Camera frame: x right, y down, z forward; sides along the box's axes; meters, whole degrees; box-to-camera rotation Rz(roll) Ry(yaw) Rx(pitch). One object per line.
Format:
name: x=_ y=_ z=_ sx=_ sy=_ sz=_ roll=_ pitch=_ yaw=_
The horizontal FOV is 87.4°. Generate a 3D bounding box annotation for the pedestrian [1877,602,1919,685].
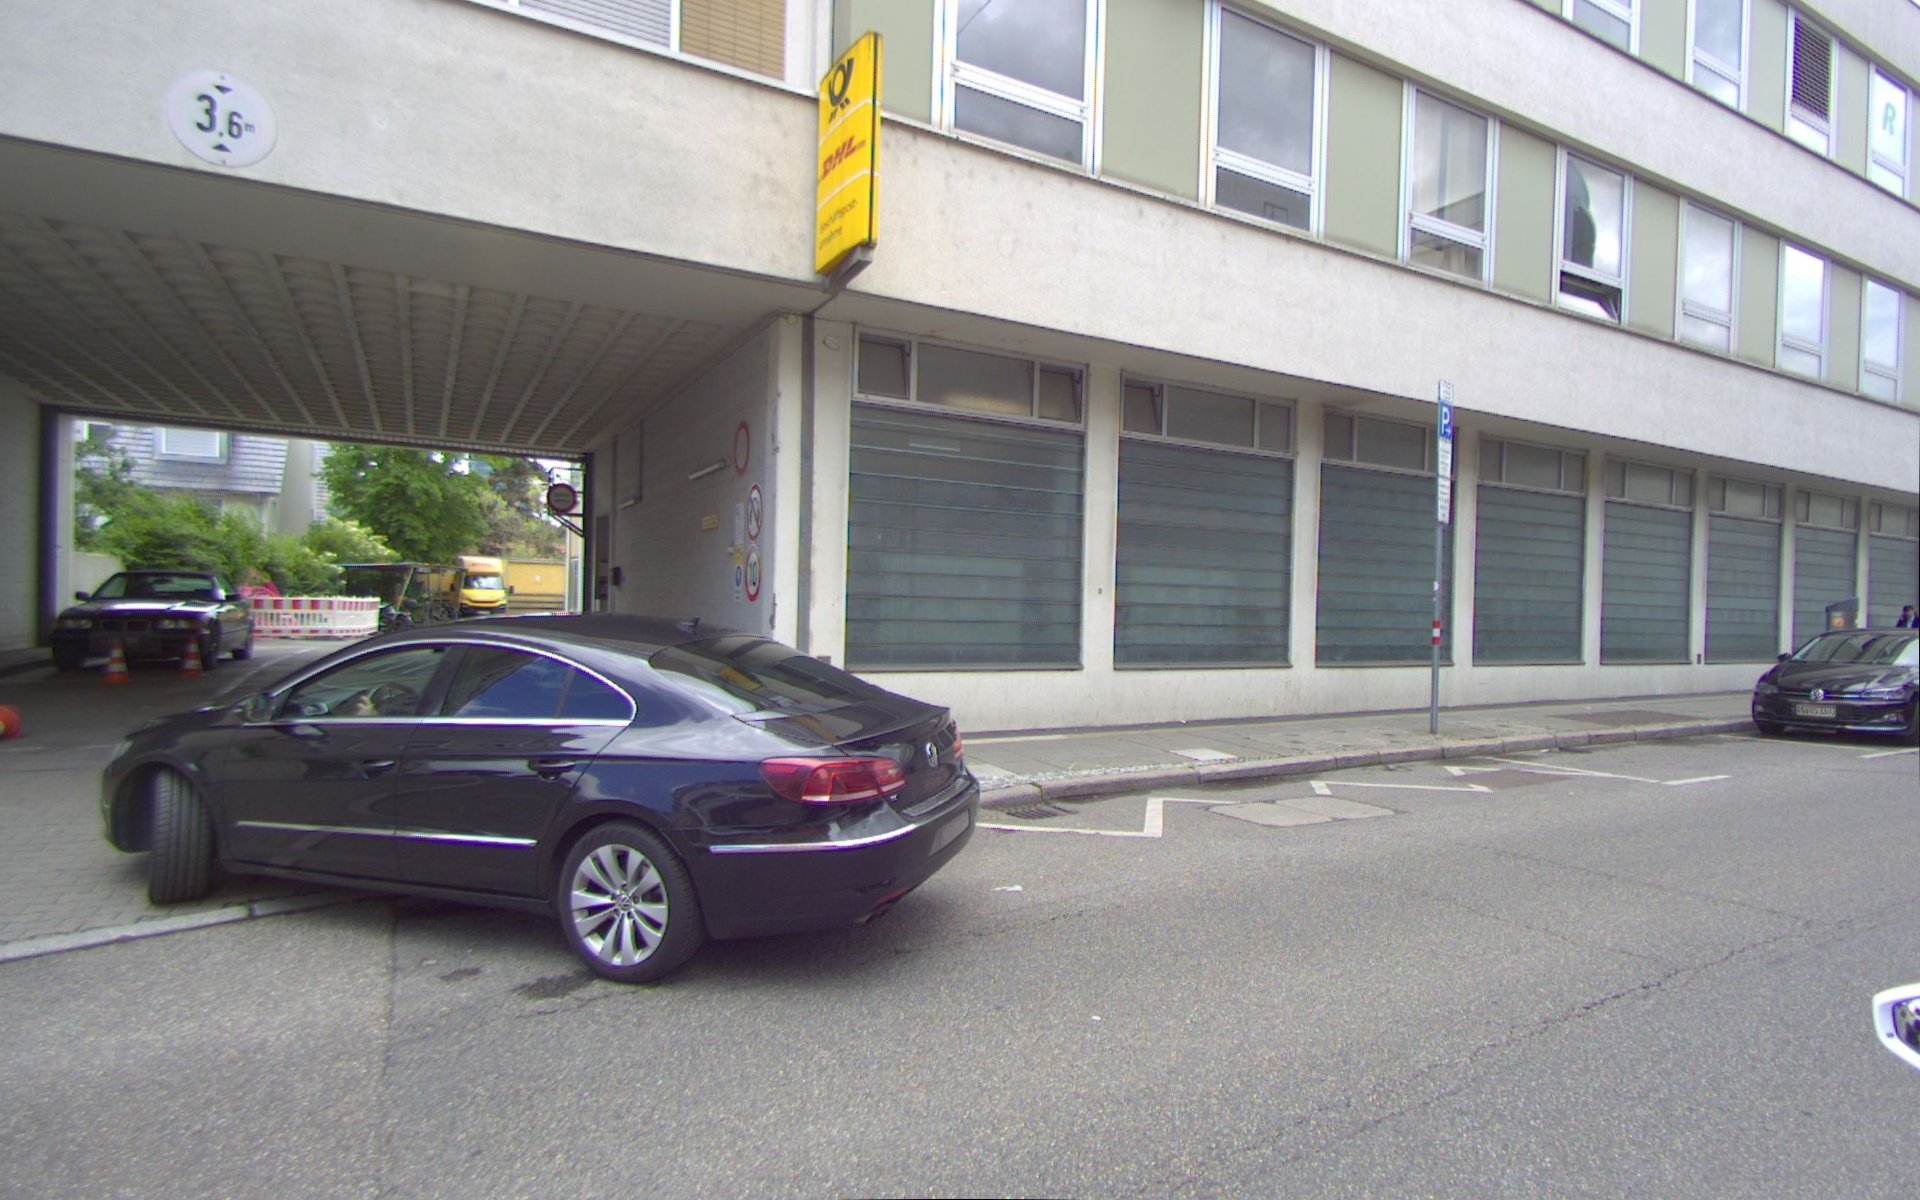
pedestrian: x=20.252 y=0.923 z=21.608 sx=0.642 sy=1.741 sz=0.586 roll=1 pitch=0 yaw=-30

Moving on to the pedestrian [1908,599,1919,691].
pedestrian: x=18.787 y=0.863 z=19.267 sx=1.043 sy=1.741 sz=0.586 roll=1 pitch=0 yaw=-31

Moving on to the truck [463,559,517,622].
truck: x=-22.444 y=-0.510 z=48.215 sx=1.971 sy=2.789 sz=7.255 roll=1 pitch=1 yaw=-23

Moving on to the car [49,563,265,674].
car: x=-11.303 y=0.214 z=14.453 sx=1.604 sy=1.341 sz=4.421 roll=1 pitch=0 yaw=-28

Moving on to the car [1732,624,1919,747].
car: x=12.333 y=1.058 z=13.602 sx=3.826 sy=1.444 sz=1.708 roll=1 pitch=-1 yaw=-31

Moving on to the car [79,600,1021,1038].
car: x=-2.038 y=0.770 z=5.028 sx=4.366 sy=1.417 sz=1.657 roll=2 pitch=0 yaw=20

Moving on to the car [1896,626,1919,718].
car: x=17.257 y=1.151 z=16.231 sx=4.209 sy=1.444 sz=1.809 roll=1 pitch=-1 yaw=-27
